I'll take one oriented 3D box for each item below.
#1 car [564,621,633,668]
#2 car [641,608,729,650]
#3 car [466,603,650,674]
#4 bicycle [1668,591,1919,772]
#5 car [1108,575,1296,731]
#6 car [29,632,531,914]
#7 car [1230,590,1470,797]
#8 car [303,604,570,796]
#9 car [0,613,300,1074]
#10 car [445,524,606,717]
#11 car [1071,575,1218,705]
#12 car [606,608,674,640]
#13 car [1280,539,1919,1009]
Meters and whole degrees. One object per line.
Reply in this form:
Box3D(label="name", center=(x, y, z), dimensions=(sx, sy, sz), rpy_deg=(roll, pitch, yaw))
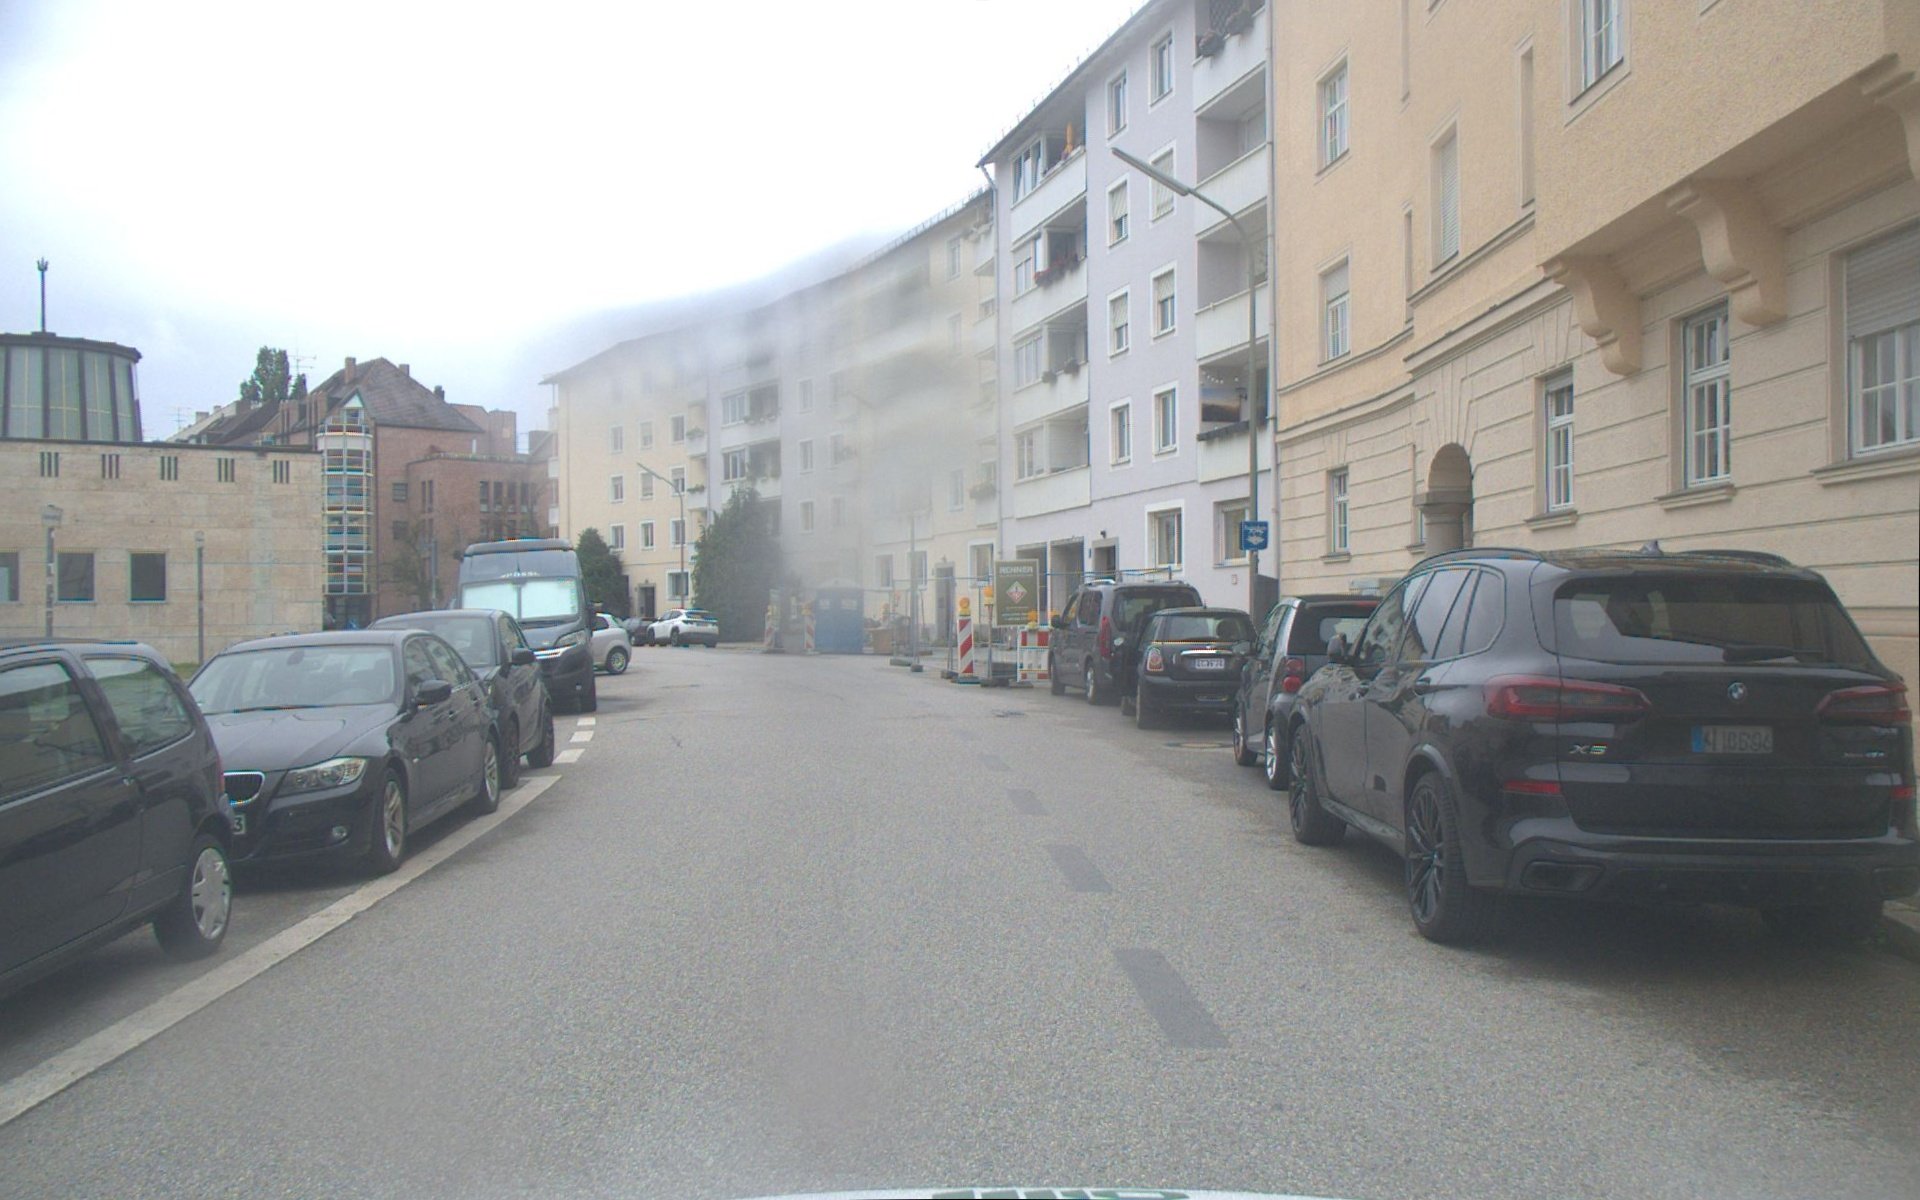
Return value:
Box3D(label="car", center=(-17.359, 2.128, 79.347), dimensions=(1.732, 2.118, 4.462), rpy_deg=(2, -1, -34))
Box3D(label="car", center=(-11.891, 1.215, 71.287), dimensions=(2.008, 1.707, 4.558), rpy_deg=(2, -1, -34))
Box3D(label="car", center=(-9.325, 0.906, 38.556), dimensions=(1.644, 1.557, 3.962), rpy_deg=(0, -1, 40))
Box3D(label="bicycle", center=(6.494, 0.594, 13.009), dimensions=(0.687, 1.268, 2.644), rpy_deg=(0, -1, -1))
Box3D(label="car", center=(2.947, 0.635, 20.848), dimensions=(1.799, 1.760, 3.730), rpy_deg=(1, -1, 0))
Box3D(label="car", center=(-4.148, 0.954, 10.873), dimensions=(1.687, 1.388, 4.210), rpy_deg=(-2, -1, -3))
Box3D(label="car", center=(3.284, 0.748, 14.374), dimensions=(1.476, 1.584, 2.863), rpy_deg=(1, -1, 2))
Box3D(label="car", center=(-4.651, 0.838, 15.082), dimensions=(1.634, 1.485, 2.865), rpy_deg=(-3, -1, -4))
Box3D(label="car", center=(-4.043, 0.837, 6.258), dimensions=(1.687, 1.507, 3.752), rpy_deg=(-2, -1, -3))
Box3D(label="car", center=(-6.771, 0.300, 26.159), dimensions=(2.107, 2.619, 6.190), rpy_deg=(-2, 0, -13))
Box3D(label="car", center=(2.791, 0.609, 25.870), dimensions=(1.799, 1.830, 4.238), rpy_deg=(1, -1, 0))
Box3D(label="car", center=(-14.637, 1.111, 75.513), dimensions=(1.645, 1.373, 3.756), rpy_deg=(2, -3, -35))
Box3D(label="car", center=(3.080, 0.638, 8.641), dimensions=(1.888, 1.760, 4.687), rpy_deg=(1, 1, 0))
